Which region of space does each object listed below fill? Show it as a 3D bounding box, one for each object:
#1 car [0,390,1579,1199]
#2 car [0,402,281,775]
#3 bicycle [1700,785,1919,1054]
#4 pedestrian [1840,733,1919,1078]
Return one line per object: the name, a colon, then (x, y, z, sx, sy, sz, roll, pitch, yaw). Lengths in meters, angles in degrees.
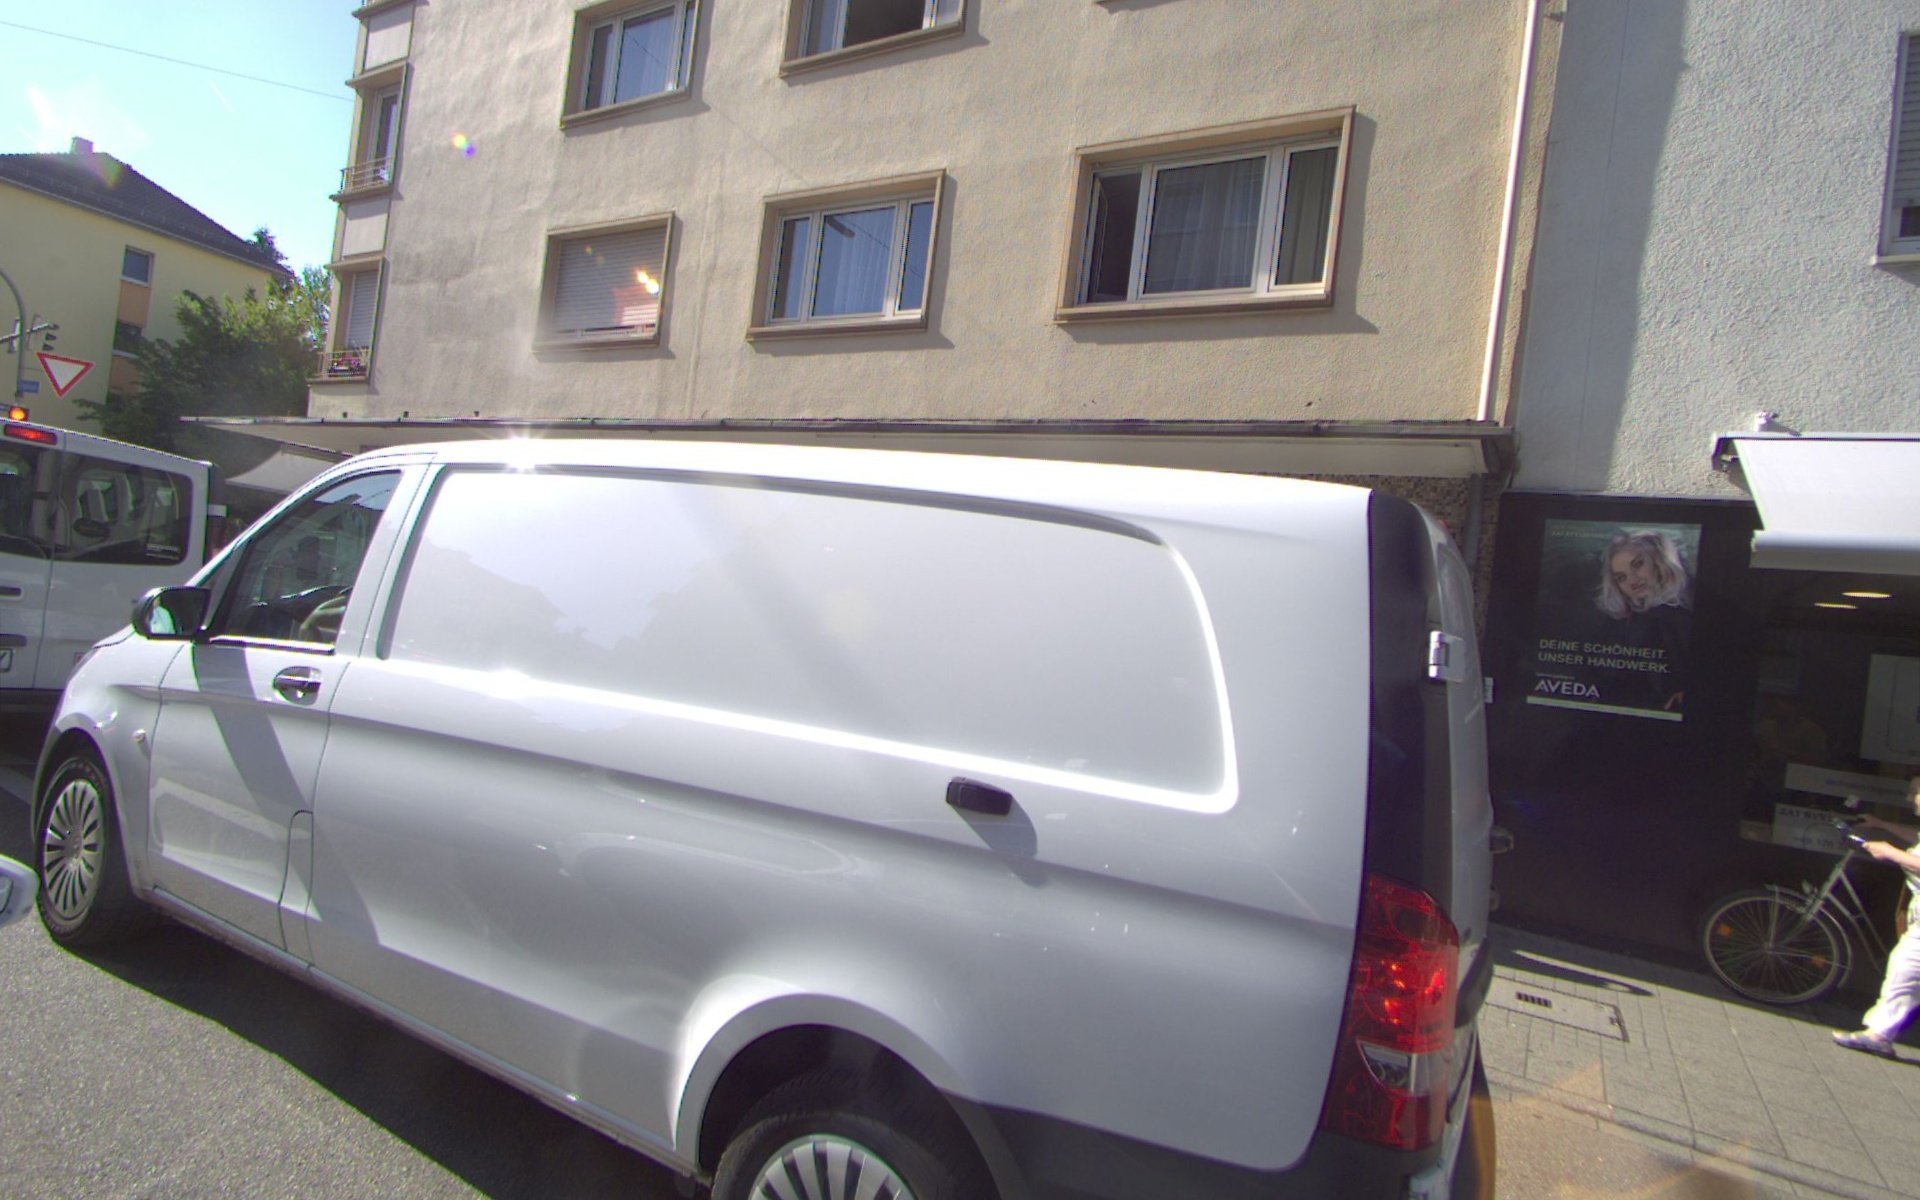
car: (-1.032, 0.511, 3.296, 4.910, 1.891, 1.841, 7, -1, 28)
car: (-7.083, -0.253, 6.905, 4.814, 2.001, 1.999, 7, -3, 32)
bicycle: (4.979, 1.711, 5.164, 1.763, 1.148, 0.401, 7, 3, 32)
pedestrian: (5.099, 1.529, 4.905, 0.931, 1.559, 0.823, 7, 3, 31)
